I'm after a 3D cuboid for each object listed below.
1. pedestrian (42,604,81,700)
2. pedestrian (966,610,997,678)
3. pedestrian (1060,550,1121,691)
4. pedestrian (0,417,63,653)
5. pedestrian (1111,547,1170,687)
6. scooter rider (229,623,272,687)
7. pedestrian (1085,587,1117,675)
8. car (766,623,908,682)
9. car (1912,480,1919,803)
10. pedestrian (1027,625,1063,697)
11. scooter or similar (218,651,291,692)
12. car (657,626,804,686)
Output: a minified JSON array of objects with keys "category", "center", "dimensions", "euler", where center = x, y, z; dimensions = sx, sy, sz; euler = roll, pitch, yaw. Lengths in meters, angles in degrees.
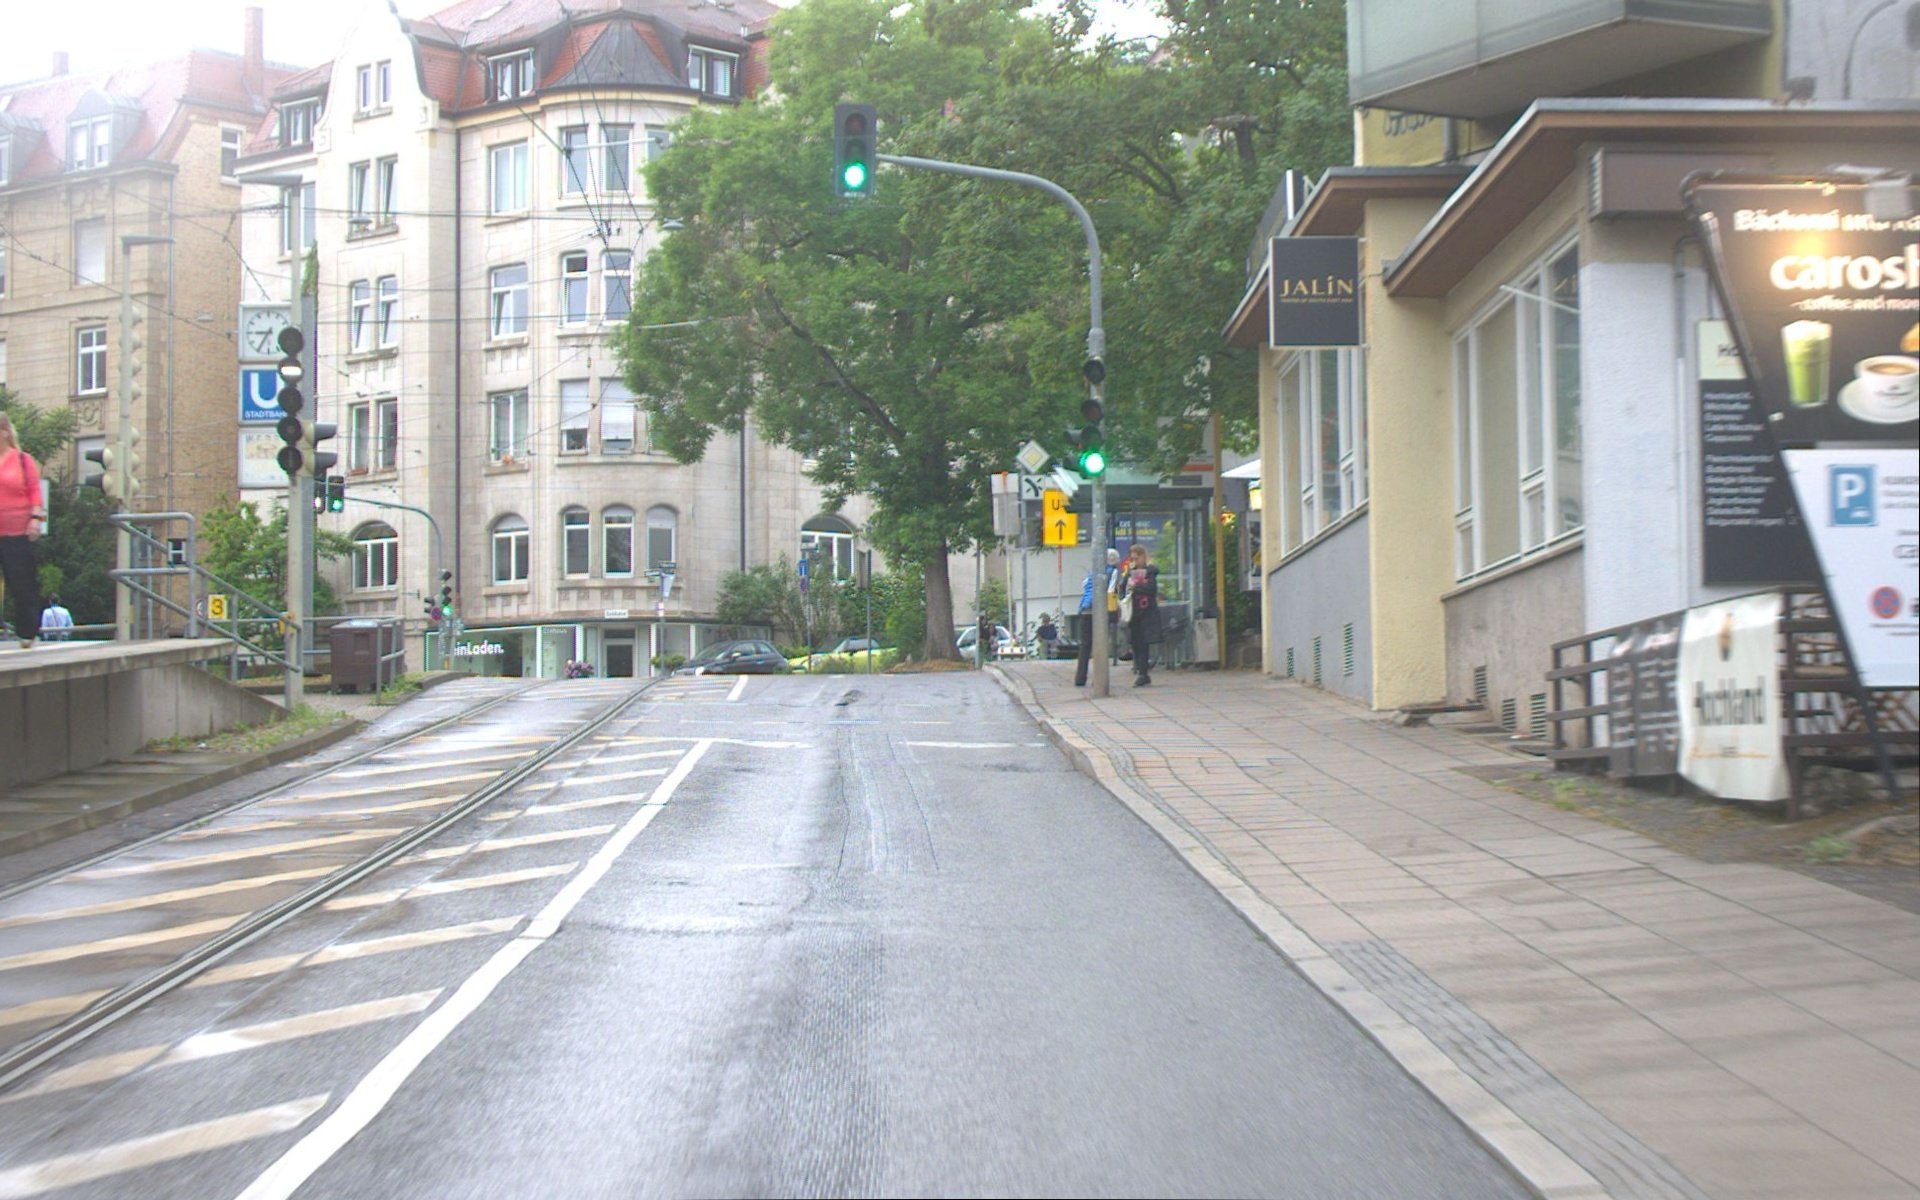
[{"category":"pedestrian","center":[-16.065,0.931,61.481],"dimensions":[0.568,1.678,0.776],"euler":[-1,-2,-9]},{"category":"pedestrian","center":[0.500,1.025,80.067],"dimensions":[0.599,1.561,0.546],"euler":[1,-1,-11]},{"category":"pedestrian","center":[1.460,0.229,38.565],"dimensions":[0.588,1.548,0.650],"euler":[-2,0,-2]},{"category":"pedestrian","center":[-6.397,-0.424,22.853],"dimensions":[0.671,1.543,0.771],"euler":[-1,0,-2]},{"category":"pedestrian","center":[2.043,0.193,38.970],"dimensions":[0.545,1.548,0.559],"euler":[-2,0,-4]},{"category":"scooter rider","center":[-19.630,1.518,95.164],"dimensions":[0.842,1.700,0.624],"euler":[1,-6,26]},{"category":"pedestrian","center":[1.861,0.409,45.443],"dimensions":[0.325,1.146,0.318],"euler":[-3,0,-5]},{"category":"car","center":[-3.417,1.446,95.599],"dimensions":[3.660,1.503,1.736],"euler":[-1,-1,-43]},{"category":"car","center":[5.611,0.356,11.502],"dimensions":[4.328,1.668,1.780],"euler":[-2,1,1]},{"category":"pedestrian","center":[1.965,1.406,79.389],"dimensions":[0.544,1.624,0.601],"euler":[2,-1,-34]},{"category":"scooter or similar","center":[-19.494,1.976,94.993],"dimensions":[2.005,1.046,0.514],"euler":[1,-5,26]},{"category":"car","center":[-6.179,1.510,92.741],"dimensions":[3.660,1.503,1.736],"euler":[-1,-1,-43]}]
